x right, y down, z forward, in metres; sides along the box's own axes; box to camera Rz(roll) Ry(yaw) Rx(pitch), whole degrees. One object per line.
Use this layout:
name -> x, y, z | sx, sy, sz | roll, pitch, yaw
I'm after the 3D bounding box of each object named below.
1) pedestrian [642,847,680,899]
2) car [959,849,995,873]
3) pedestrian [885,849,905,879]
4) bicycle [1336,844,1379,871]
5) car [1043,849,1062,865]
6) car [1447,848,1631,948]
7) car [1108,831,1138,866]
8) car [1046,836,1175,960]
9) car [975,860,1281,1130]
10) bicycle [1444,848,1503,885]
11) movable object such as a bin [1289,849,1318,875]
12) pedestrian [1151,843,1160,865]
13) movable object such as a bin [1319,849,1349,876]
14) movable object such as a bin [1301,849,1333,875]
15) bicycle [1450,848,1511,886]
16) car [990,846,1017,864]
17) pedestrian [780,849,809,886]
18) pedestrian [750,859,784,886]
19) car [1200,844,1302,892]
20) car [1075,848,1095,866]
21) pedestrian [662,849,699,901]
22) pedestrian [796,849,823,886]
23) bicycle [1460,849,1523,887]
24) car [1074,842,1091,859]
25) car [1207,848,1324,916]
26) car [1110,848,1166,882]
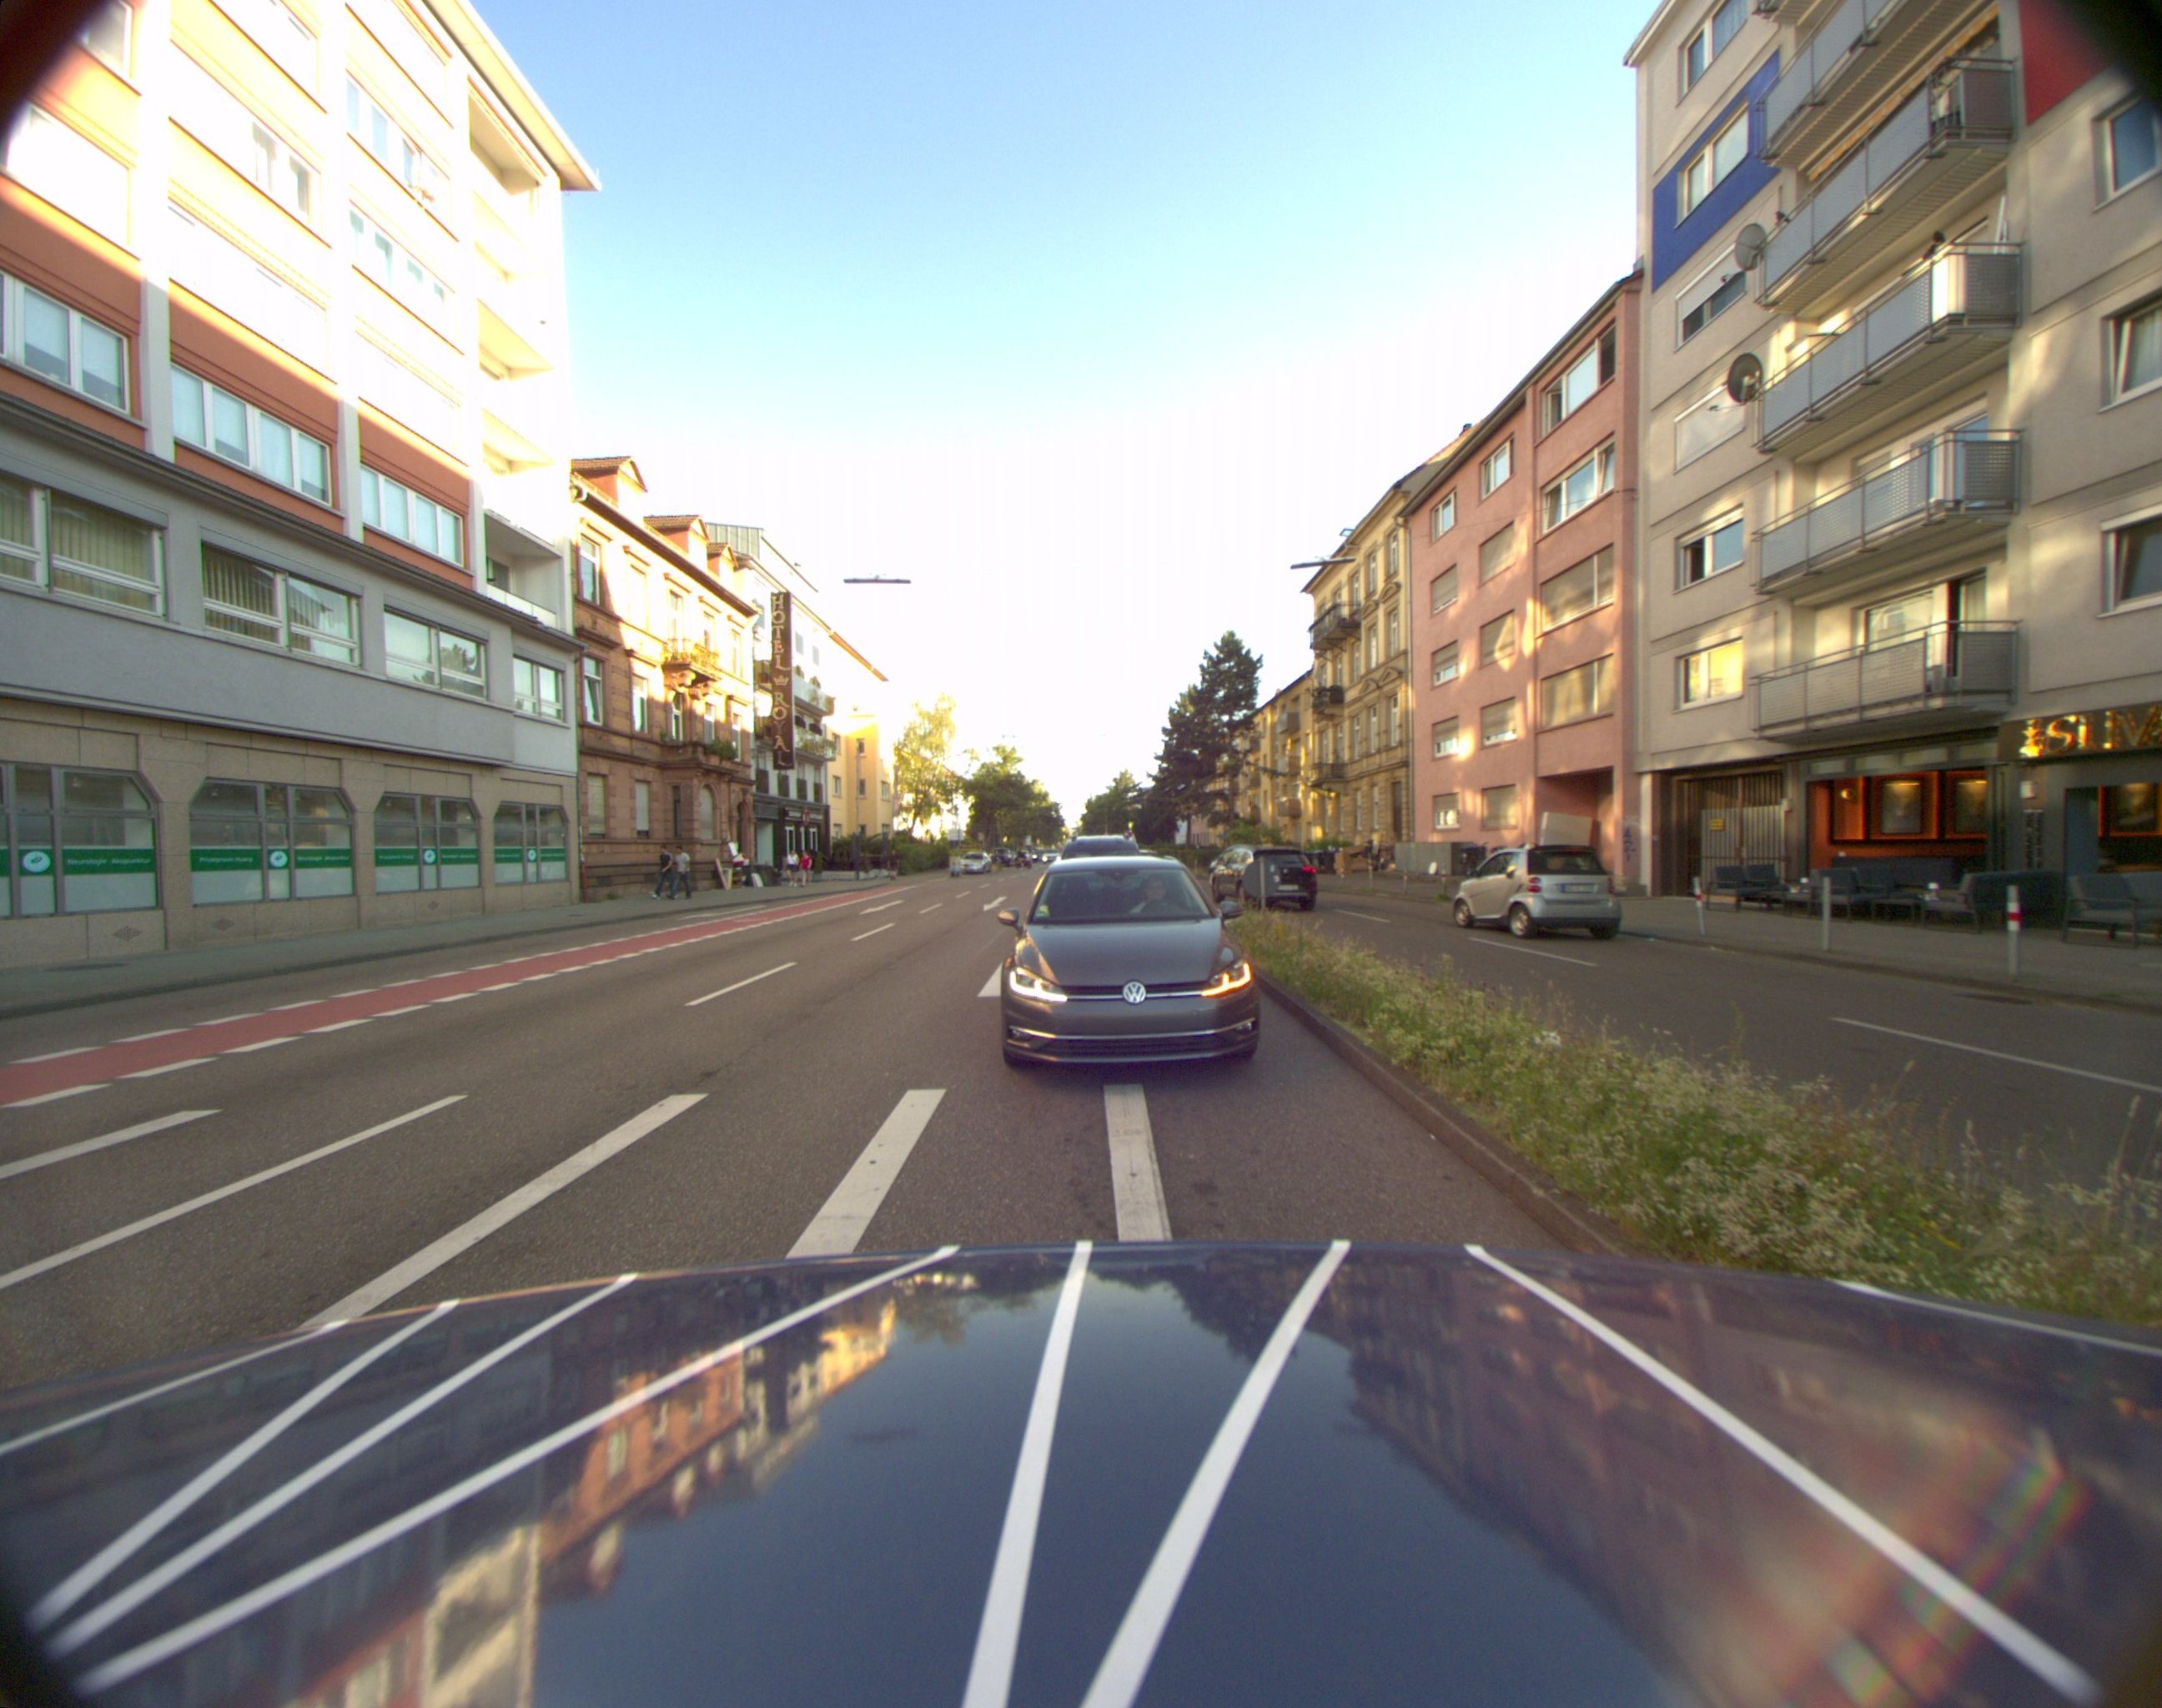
pedestrian -> -14.266, 0.631, 25.838 | 0.668, 1.716, 1.011 | -1, 1, 0
car -> -7.265, 0.460, 53.373 | 1.905, 1.509, 4.074 | -1, 1, 1
pedestrian -> -10.213, 0.556, 41.701 | 0.738, 1.593, 1.011 | 2, 1, 4
bicycle -> 12.770, 0.167, 35.098 | 1.780, 1.184, 0.473 | -1, 1, -2
car -> -2.948, 0.282, 79.258 | 1.907, 1.532, 3.999 | -1, 1, 0
car -> 7.929, 0.689, 13.434 | 1.539, 1.583, 2.808 | 0, 0, 0
car -> 3.337, -0.426, 61.571 | 2.136, 2.740, 4.465 | 0, 1, 0
car -> 0.435, 0.625, 13.501 | 1.895, 1.843, 4.465 | 0, 1, 0
car -> 0.310, 0.862, 6.670 | 1.770, 1.450, 4.269 | -2, 1, 1
bicycle -> 13.273, 0.414, 25.710 | 1.780, 1.184, 0.473 | -1, 1, -2
movable object such as a bin -> 10.890, 0.382, 37.226 | 1.196, 1.226, 0.847 | -2, 1, -40
pedestrian -> 5.525, -0.010, 56.310 | 0.577, 1.591, 0.481 | -1, 1, 1
movable object such as a bin -> 11.854, 0.372, 35.585 | 1.196, 1.226, 0.847 | -2, 1, -40
movable object such as a bin -> 11.281, 0.380, 36.331 | 1.295, 1.226, 0.926 | -2, 1, -40
bicycle -> 13.192, 0.427, 25.131 | 1.780, 1.184, 0.473 | -1, 1, -2
car -> -7.015, 0.076, 69.164 | 1.947, 1.616, 4.193 | -1, 1, 0
pedestrian -> -12.658, 0.587, 33.636 | 0.786, 1.579, 1.011 | 3, 1, 4
pedestrian -> -13.690, 0.815, 33.189 | 1.100, 1.129, 0.924 | -1, 1, -2
car -> 6.127, 0.475, 27.850 | 1.727, 1.619, 4.095 | 0, 1, -20
car -> 0.356, 0.235, 68.733 | 1.596, 1.533, 3.403 | 0, 1, -4
pedestrian -> -13.536, 0.680, 25.722 | 0.668, 1.716, 1.011 | -1, 1, 1
pedestrian -> -12.003, 0.599, 33.613 | 0.738, 1.579, 1.011 | 3, 1, 4
bicycle -> 13.170, 0.434, 24.398 | 1.780, 1.184, 0.473 | -1, 1, -2
car -> 0.213, -0.423, 88.456 | 1.895, 1.843, 4.700 | 0, 1, 0
car -> 4.582, 0.632, 19.485 | 1.680, 1.535, 4.100 | 0, 0, -5
car -> 2.607, 0.465, 35.465 | 1.597, 1.462, 3.981 | 0, 0, -12
